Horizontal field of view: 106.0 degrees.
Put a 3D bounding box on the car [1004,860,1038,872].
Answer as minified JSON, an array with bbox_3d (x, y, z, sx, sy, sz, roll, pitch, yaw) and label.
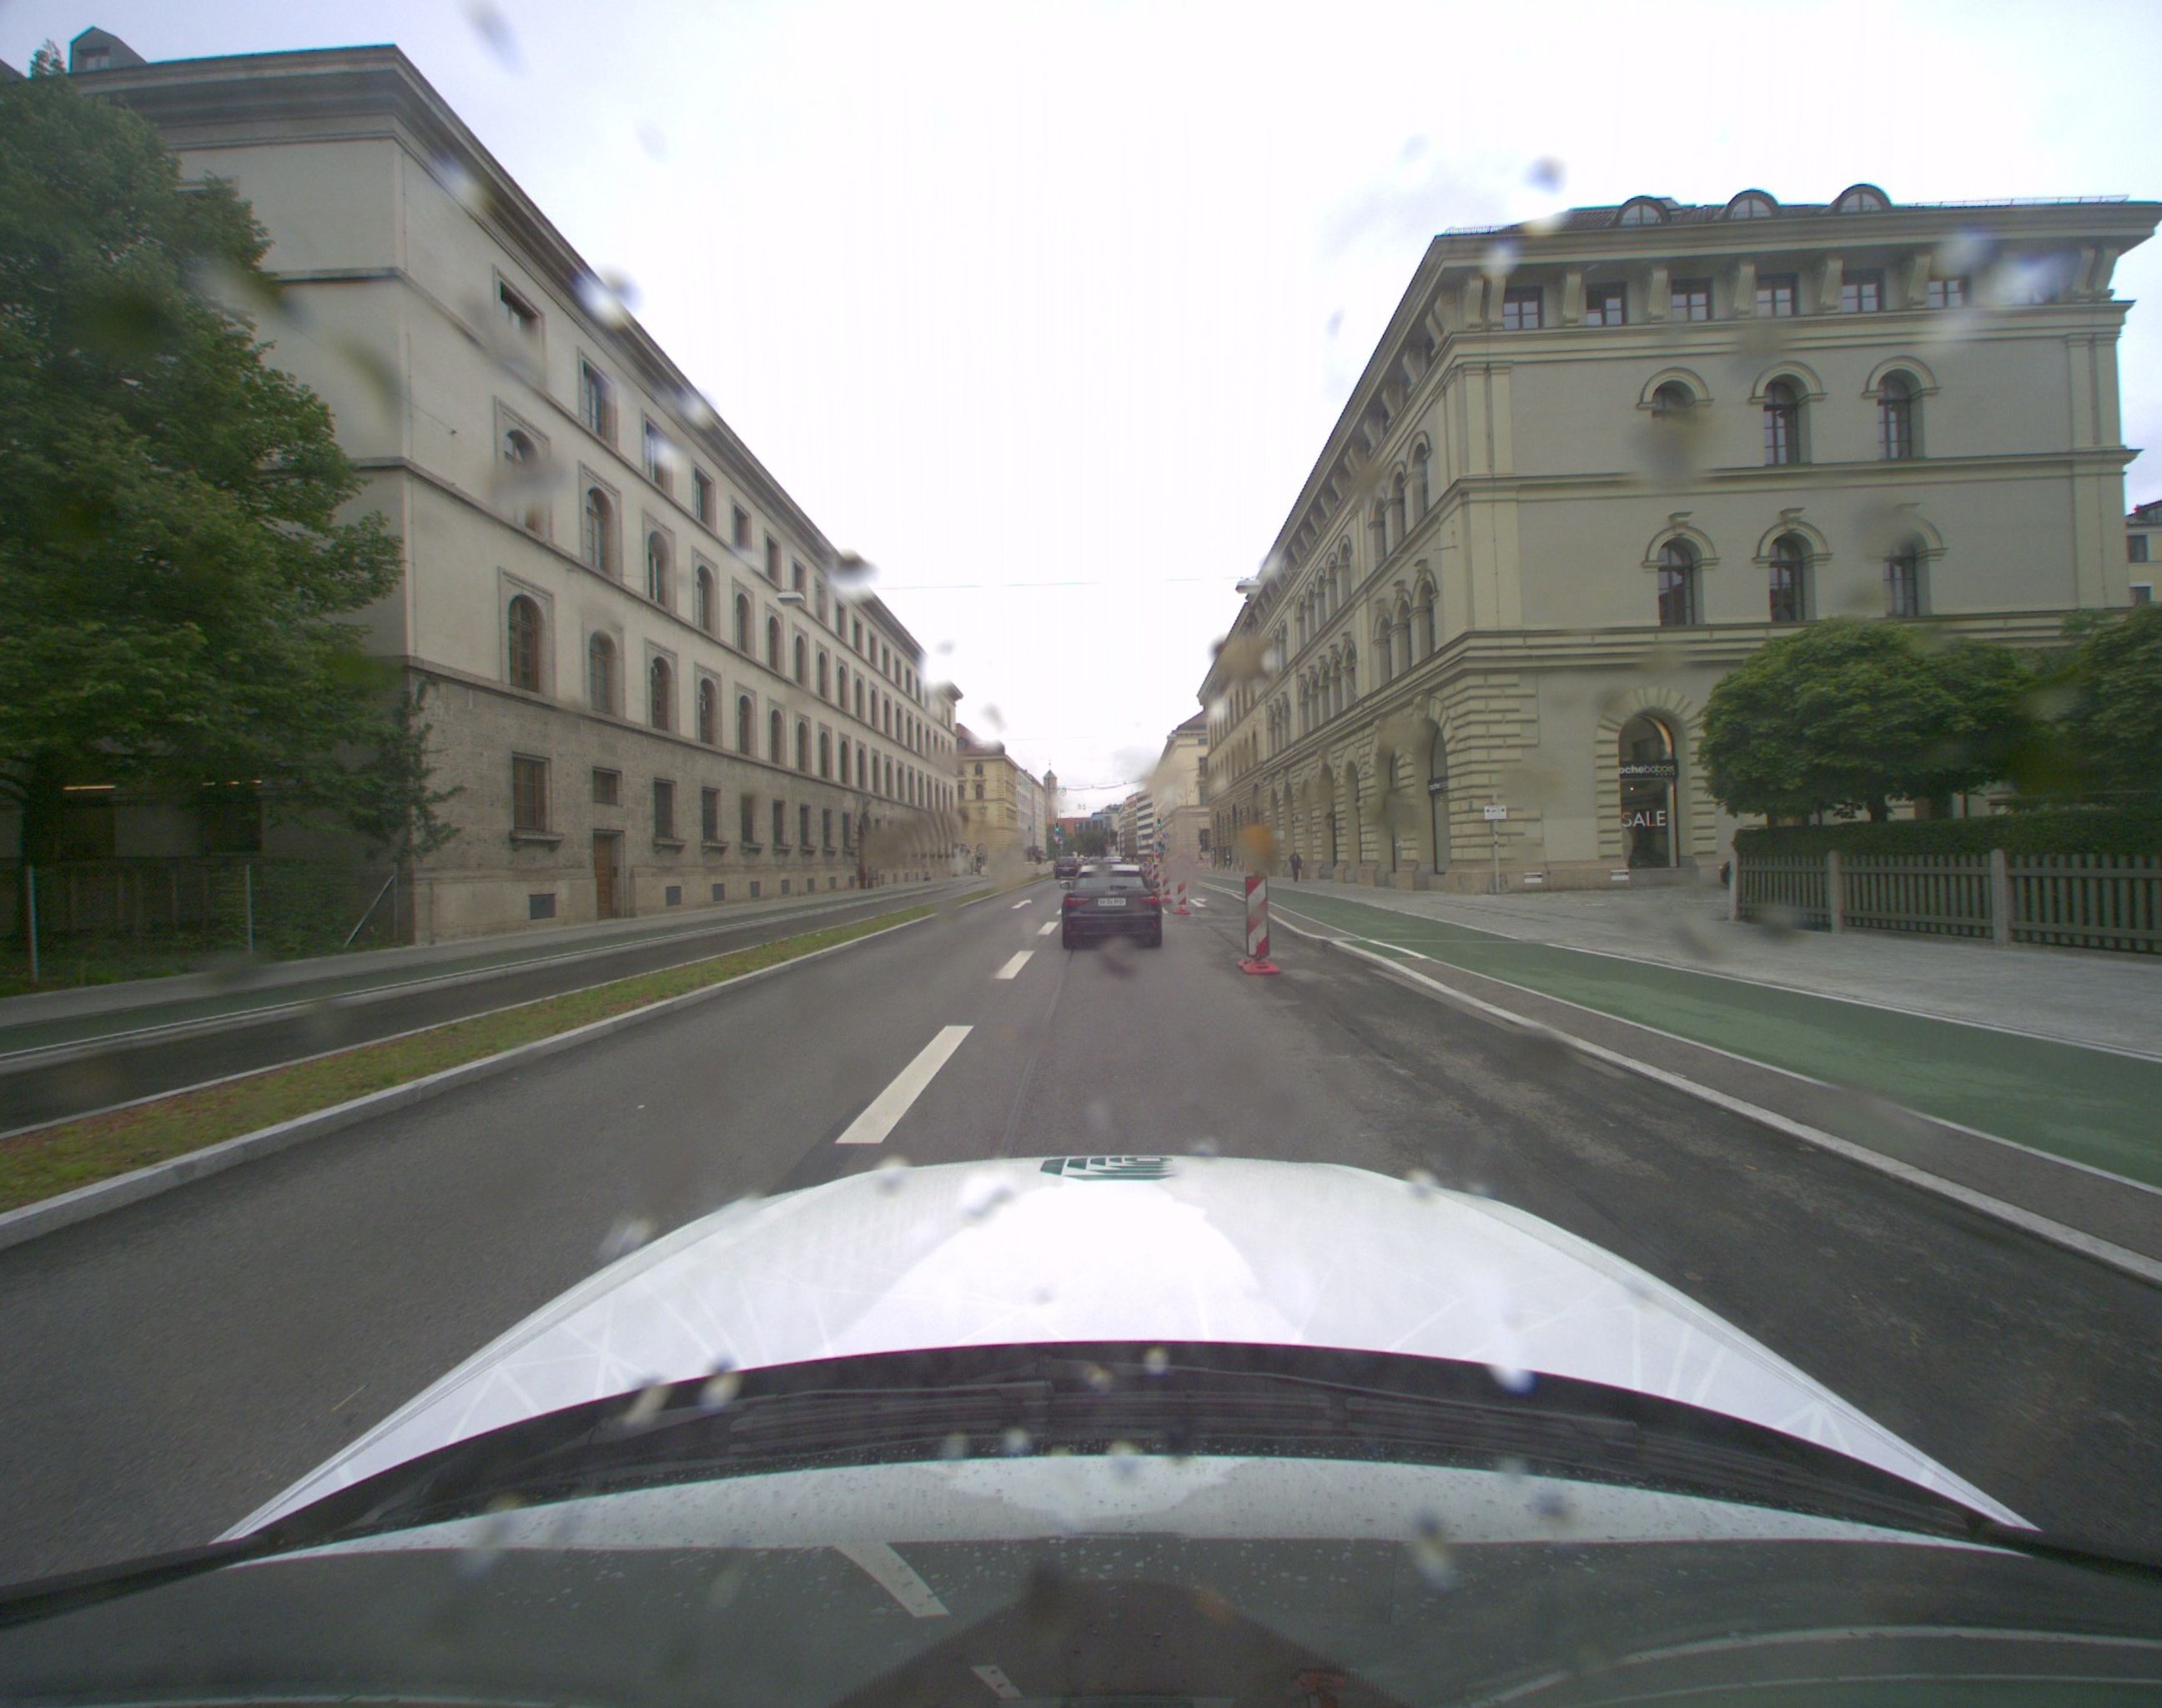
[{"bbox_3d":[-7.138,1.417,96.853,3.821,1.398,1.748,-2,0,-16],"label":"car"}]

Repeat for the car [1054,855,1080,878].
[{"bbox_3d":[-1.014,0.918,60.480,1.758,1.616,4.032,-1,0,2],"label":"car"}]

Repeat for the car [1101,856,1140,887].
[{"bbox_3d":[1.864,0.807,38.970,1.723,1.403,4.002,0,0,2],"label":"car"}]

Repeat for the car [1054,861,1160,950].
[{"bbox_3d":[0.500,0.855,15.254,1.723,1.403,4.002,0,0,2],"label":"car"}]

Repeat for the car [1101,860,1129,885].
[{"bbox_3d":[2.139,1.154,51.492,1.723,1.461,4.002,0,0,2],"label":"car"}]

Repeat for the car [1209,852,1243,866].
[{"bbox_3d":[18.069,0.584,101.727,3.966,1.662,2.004,-2,0,6],"label":"car"}]

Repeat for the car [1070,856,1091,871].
[{"bbox_3d":[-0.046,0.970,83.376,1.986,1.444,4.002,-2,0,2],"label":"car"}]

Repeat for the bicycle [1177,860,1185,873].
[{"bbox_3d":[9.732,1.196,79.444,0.725,1.156,2.175,-2,0,5],"label":"bicycle"}]

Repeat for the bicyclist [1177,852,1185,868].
[{"bbox_3d":[9.704,0.608,79.333,0.706,1.500,0.755,-2,-1,4],"label":"bicyclist"}]

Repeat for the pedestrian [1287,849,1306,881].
[{"bbox_3d":[11.089,0.550,41.906,0.707,1.618,0.754,-2,-1,1],"label":"pedestrian"}]

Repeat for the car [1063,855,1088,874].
[{"bbox_3d":[-0.430,0.915,71.466,1.986,1.627,4.002,-2,0,2],"label":"car"}]

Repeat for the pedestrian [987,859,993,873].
[{"bbox_3d":[-11.993,1.544,107.305,0.653,1.805,0.727,-2,-1,1],"label":"pedestrian"}]

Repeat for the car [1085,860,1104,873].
[{"bbox_3d":[1.614,1.430,95.386,1.986,1.444,4.002,-2,0,2],"label":"car"}]
